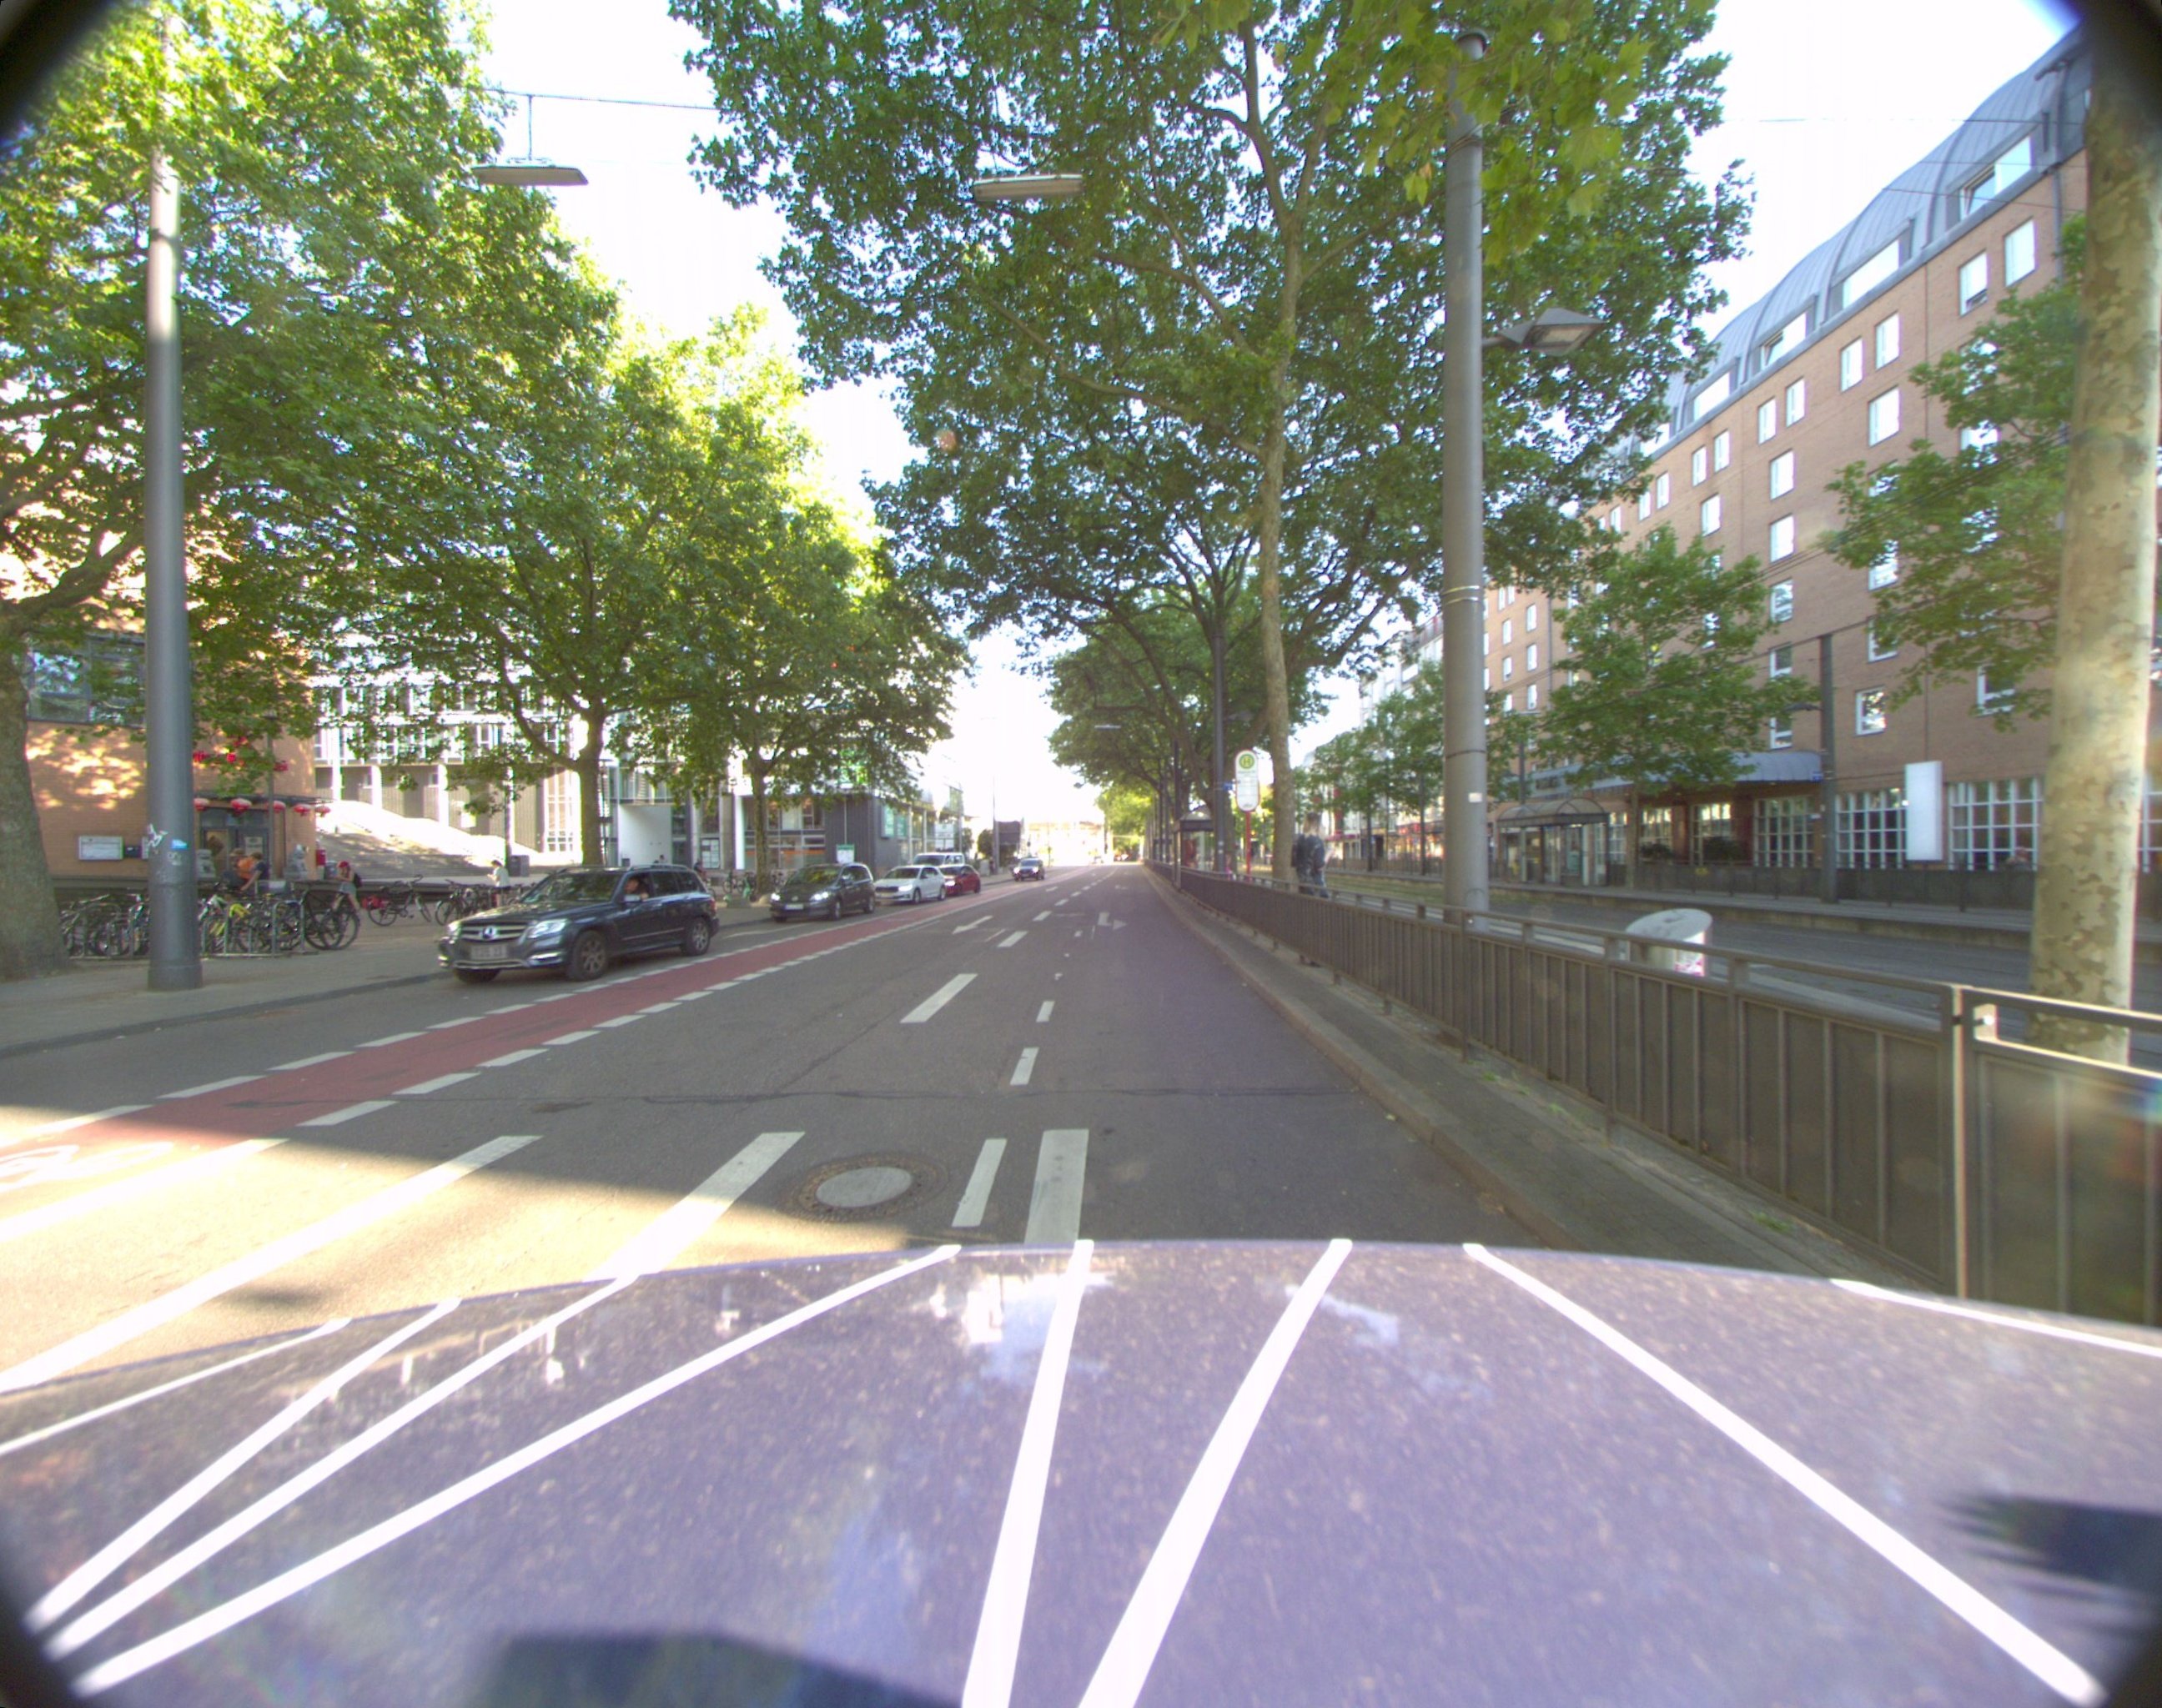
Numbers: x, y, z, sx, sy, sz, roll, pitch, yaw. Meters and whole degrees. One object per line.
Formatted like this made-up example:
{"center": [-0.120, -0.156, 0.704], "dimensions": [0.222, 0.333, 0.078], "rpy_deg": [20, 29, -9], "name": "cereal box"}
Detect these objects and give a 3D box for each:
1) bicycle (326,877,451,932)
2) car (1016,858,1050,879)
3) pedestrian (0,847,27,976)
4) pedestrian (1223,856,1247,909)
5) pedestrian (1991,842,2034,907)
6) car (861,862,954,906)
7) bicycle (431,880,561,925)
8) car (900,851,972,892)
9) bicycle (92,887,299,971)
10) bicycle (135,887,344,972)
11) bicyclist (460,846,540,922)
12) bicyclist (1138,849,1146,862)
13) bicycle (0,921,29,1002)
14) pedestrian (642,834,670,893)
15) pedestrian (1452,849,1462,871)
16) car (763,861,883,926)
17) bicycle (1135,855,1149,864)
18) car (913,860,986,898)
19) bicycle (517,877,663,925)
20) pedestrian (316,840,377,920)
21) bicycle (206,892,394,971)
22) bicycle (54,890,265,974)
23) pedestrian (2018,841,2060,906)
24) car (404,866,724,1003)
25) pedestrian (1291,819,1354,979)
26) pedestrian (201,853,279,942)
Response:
{"center": [-17.845, 1.263, 19.711], "dimensions": [0.699, 1.193, 2.700], "rpy_deg": [-2, 1, 1], "name": "bicycle"}
{"center": [-3.669, 1.081, 58.548], "dimensions": [1.784, 1.481, 4.197], "rpy_deg": [-3, 0, 7], "name": "car"}
{"center": [-17.079, 0.891, 11.459], "dimensions": [0.934, 2.002, 1.091], "rpy_deg": [-1, 1, -25], "name": "pedestrian"}
{"center": [3.954, 0.723, 19.510], "dimensions": [0.542, 1.310, 0.524], "rpy_deg": [-2, 1, 12], "name": "pedestrian"}
{"center": [25.042, 0.536, 20.434], "dimensions": [0.479, 1.725, 0.545], "rpy_deg": [0, 1, 8], "name": "pedestrian"}
{"center": [-6.632, 1.120, 29.541], "dimensions": [1.834, 1.481, 4.199], "rpy_deg": [-2, 0, 13], "name": "car"}
{"center": [-16.229, 1.321, 21.095], "dimensions": [3.328, 1.077, 1.150], "rpy_deg": [0, 1, 18], "name": "bicycle"}
{"center": [-7.548, 0.867, 40.310], "dimensions": [1.932, 1.953, 5.921], "rpy_deg": [-2, 0, 8], "name": "car"}
{"center": [-14.851, 1.210, 12.874], "dimensions": [0.671, 1.155, 2.305], "rpy_deg": [-2, 1, 3], "name": "bicycle"}
{"center": [-14.068, 1.208, 12.849], "dimensions": [0.751, 1.155, 2.398], "rpy_deg": [-2, 1, 2], "name": "bicycle"}
{"center": [-16.065, 0.805, 21.045], "dimensions": [1.296, 2.002, 1.158], "rpy_deg": [-1, 1, 17], "name": "bicyclist"}
{"center": [10.167, 0.231, 126.992], "dimensions": [0.957, 2.002, 0.940], "rpy_deg": [-1, 2, 44], "name": "bicyclist"}
{"center": [-13.394, 1.327, 7.991], "dimensions": [0.925, 0.943, 2.637], "rpy_deg": [-2, 1, 1], "name": "bicycle"}
{"center": [-19.680, 0.431, 35.154], "dimensions": [0.981, 2.633, 0.900], "rpy_deg": [-3, 1, -31], "name": "pedestrian"}
{"center": [29.880, 0.487, 60.411], "dimensions": [0.504, 1.725, 0.574], "rpy_deg": [-1, 1, 3], "name": "pedestrian"}
{"center": [-7.435, 1.087, 22.412], "dimensions": [1.709, 1.626, 4.392], "rpy_deg": [-2, 0, 5], "name": "car"}
{"center": [10.142, 0.979, 126.990], "dimensions": [0.948, 1.460, 2.711], "rpy_deg": [0, 1, 40], "name": "bicycle"}
{"center": [-5.957, 1.094, 34.904], "dimensions": [1.834, 1.481, 4.198], "rpy_deg": [-3, 0, 11], "name": "car"}
{"center": [-12.850, 1.197, 20.069], "dimensions": [0.975, 1.020, 3.208], "rpy_deg": [-2, 1, 23], "name": "bicycle"}
{"center": [-21.109, 0.739, 21.860], "dimensions": [0.842, 2.220, 0.905], "rpy_deg": [-2, 1, 22], "name": "pedestrian"}
{"center": [-13.113, 1.256, 12.897], "dimensions": [0.682, 1.054, 2.337], "rpy_deg": [-1, 1, 2], "name": "bicycle"}
{"center": [-15.551, 1.268, 12.956], "dimensions": [0.657, 1.155, 2.293], "rpy_deg": [-2, 1, 3], "name": "bicycle"}
{"center": [25.643, 0.508, 20.337], "dimensions": [0.443, 1.725, 0.545], "rpy_deg": [0, 1, 8], "name": "pedestrian"}
{"center": [-7.609, 1.070, 11.811], "dimensions": [1.768, 1.626, 4.251], "rpy_deg": [-2, 0, 5], "name": "car"}
{"center": [2.857, 0.520, 9.035], "dimensions": [0.543, 1.823, 0.524], "rpy_deg": [-2, 1, 4], "name": "pedestrian"}
{"center": [-22.504, 1.131, 20.334], "dimensions": [1.048, 2.235, 1.221], "rpy_deg": [-1, 1, 38], "name": "pedestrian"}
